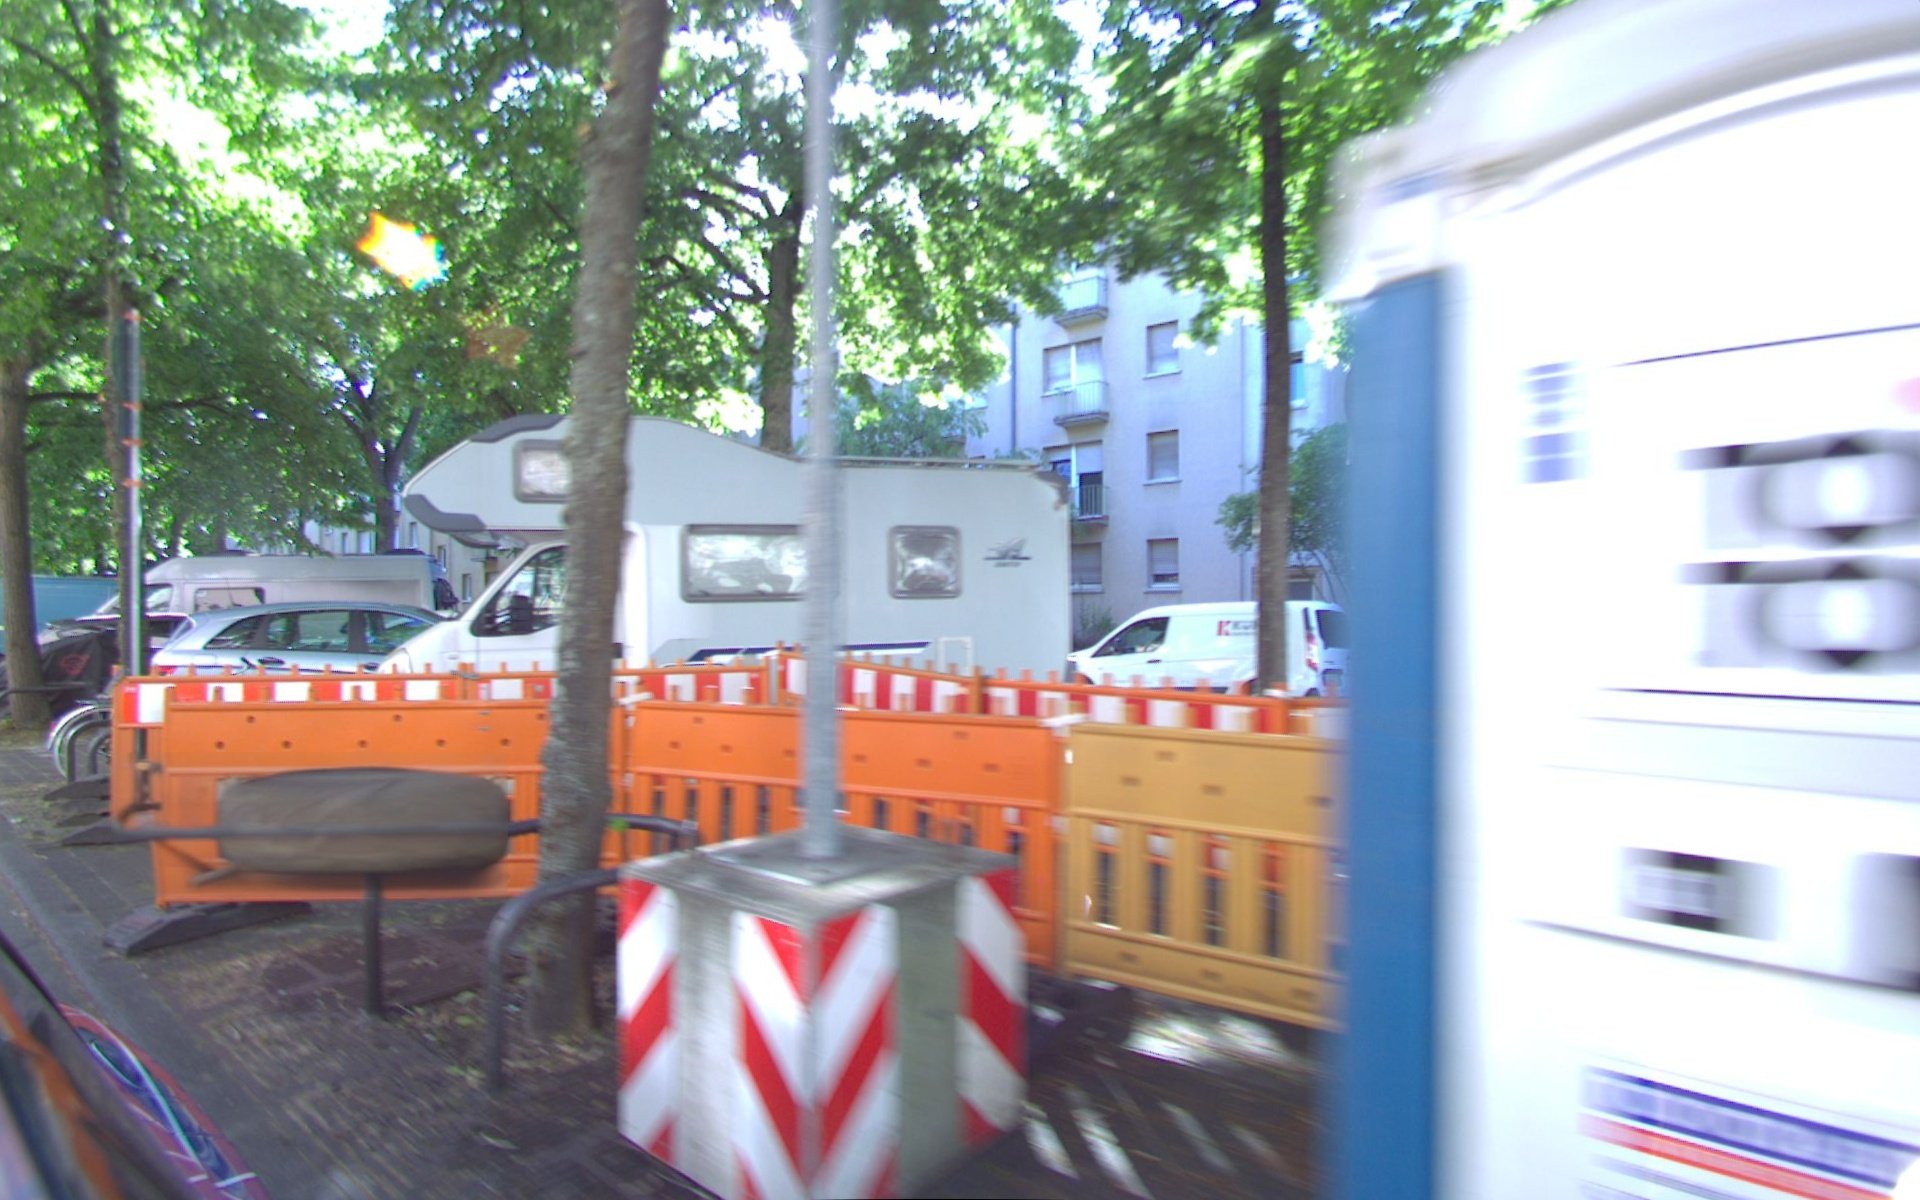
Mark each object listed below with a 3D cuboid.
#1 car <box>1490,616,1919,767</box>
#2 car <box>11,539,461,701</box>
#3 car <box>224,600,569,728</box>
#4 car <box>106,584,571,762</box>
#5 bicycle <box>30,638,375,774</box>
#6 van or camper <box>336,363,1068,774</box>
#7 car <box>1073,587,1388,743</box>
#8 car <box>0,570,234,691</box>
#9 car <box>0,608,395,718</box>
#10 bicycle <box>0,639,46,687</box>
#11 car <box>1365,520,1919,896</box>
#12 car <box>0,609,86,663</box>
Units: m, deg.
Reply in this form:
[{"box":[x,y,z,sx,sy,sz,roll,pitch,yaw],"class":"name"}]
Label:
[{"box":[8.520,0.918,11.515,4.125,1.454,1.701,-1,-2,42],"class":"car"},{"box":[-12.326,0.383,17.897,6.094,2.530,2.145,1,-2,-22],"class":"car"},{"box":[-7.395,0.826,13.694,3.761,1.556,1.687,1,-2,-15],"class":"car"},{"box":[-6.324,0.715,10.846,3.930,1.629,1.803,1,-2,-23],"class":"car"},{"box":[-6.463,0.856,8.789,2.345,0.985,0.502,0,-1,-40],"class":"bicycle"},{"box":[-2.190,-0.172,9.593,5.929,3.025,2.407,1,-2,-20],"class":"van or camper"},{"box":[3.931,0.872,15.146,4.263,2.029,1.605,-1,-1,40],"class":"car"},{"box":[-16.796,0.581,19.407,4.322,2.184,1.776,1,-2,-22],"class":"car"},{"box":[-11.239,0.902,15.315,4.447,1.494,1.743,1,-2,-19],"class":"car"},{"box":[-20.024,1.284,20.578,2.119,0.977,0.609,2,-2,-42],"class":"bicycle"},{"box":[4.041,0.522,5.778,2.941,1.730,1.426,0,-1,-17],"class":"car"},{"box":[-26.553,0.990,27.962,3.218,1.427,1.753,0,0,-17],"class":"car"}]
